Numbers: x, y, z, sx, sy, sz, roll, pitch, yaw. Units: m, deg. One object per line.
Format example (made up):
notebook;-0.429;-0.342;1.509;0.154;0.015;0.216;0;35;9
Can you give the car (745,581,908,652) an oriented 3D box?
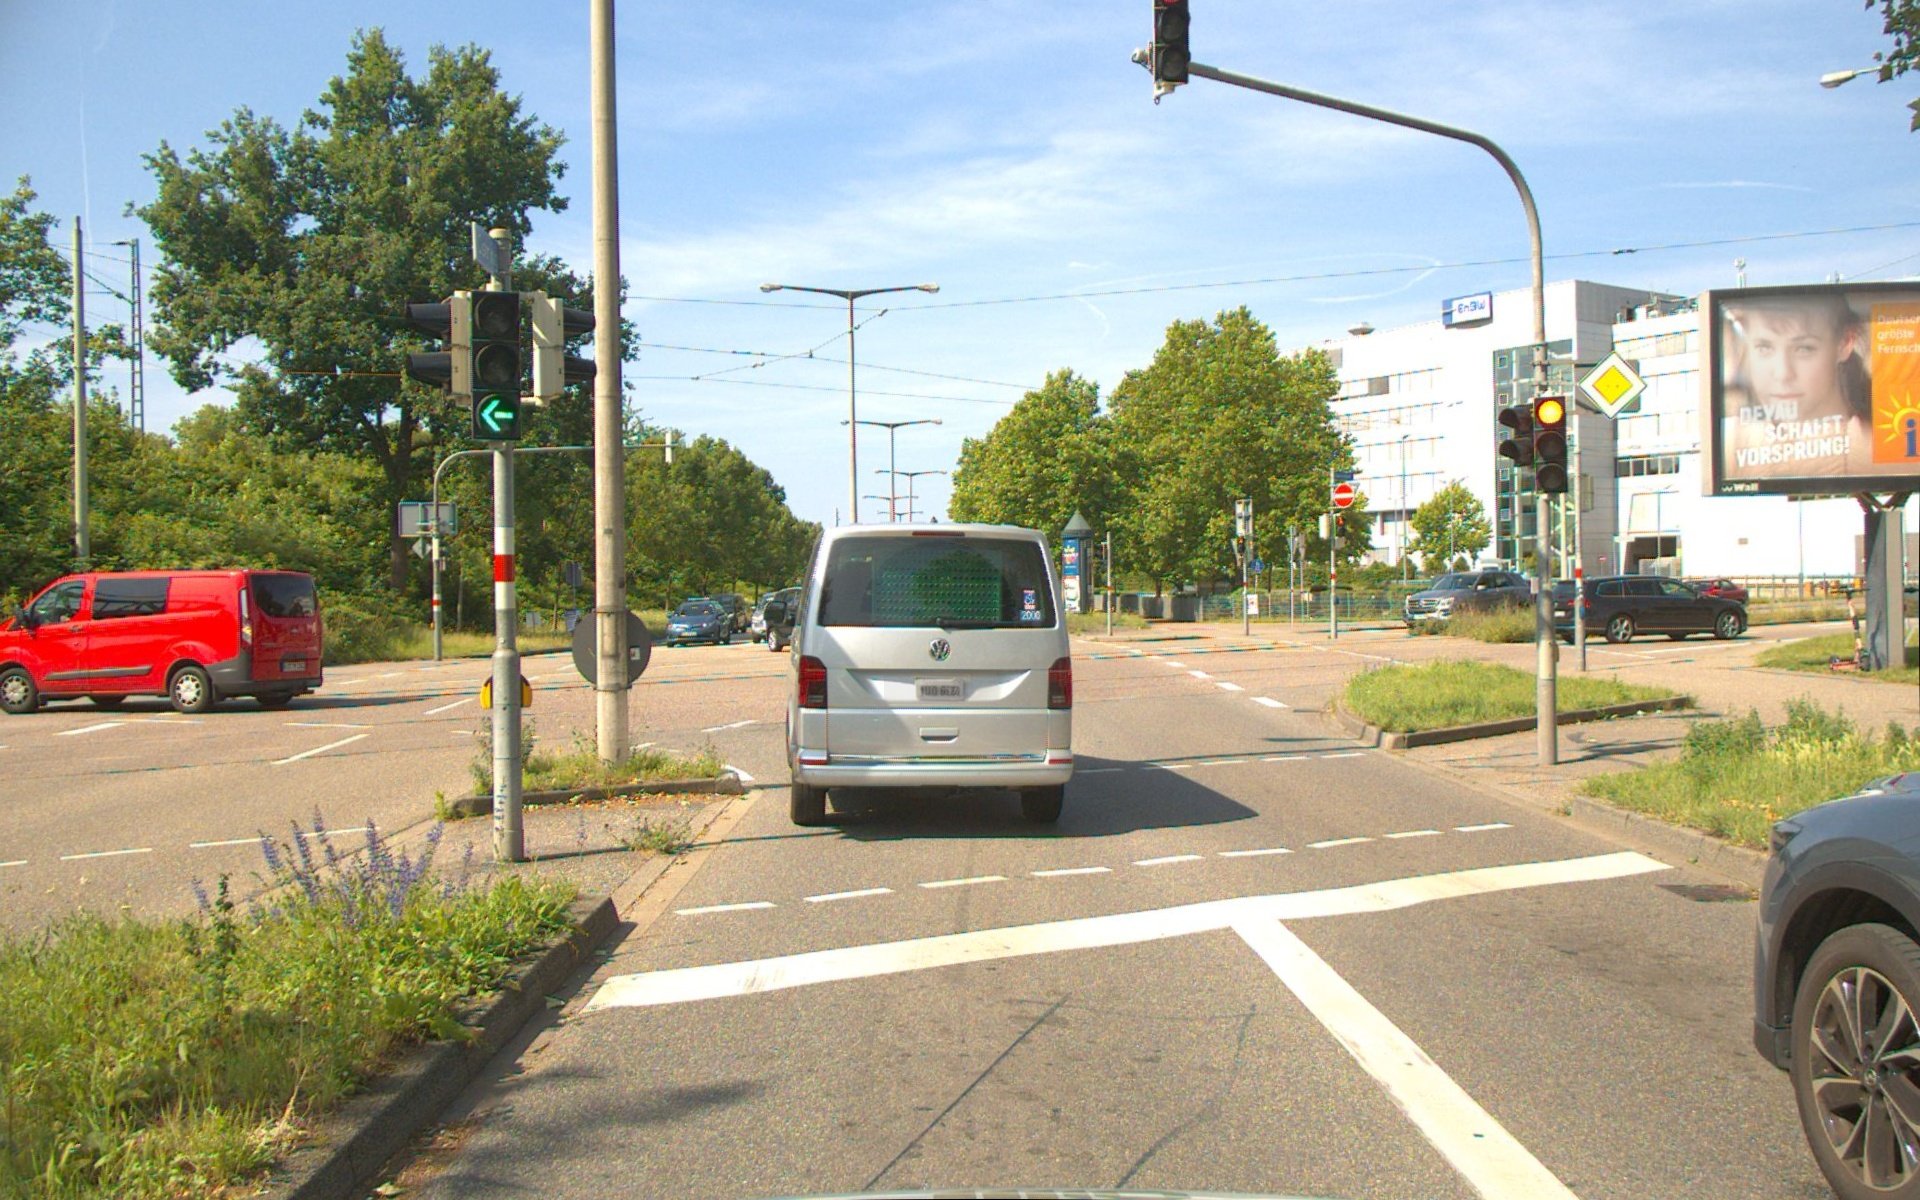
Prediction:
car;-3.359;0.411;40.960;1.799;1.633;4.311;-2;0;-42

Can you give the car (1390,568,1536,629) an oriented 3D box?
car;15.116;-0.066;49.591;4.578;1.718;1.890;-2;0;-38

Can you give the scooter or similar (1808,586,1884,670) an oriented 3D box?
scooter or similar;12.395;0.378;23.167;0.416;1.146;1.123;-1;0;-2

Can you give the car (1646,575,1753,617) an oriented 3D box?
car;28.198;-0.155;63.016;4.578;1.469;1.758;-2;0;-38

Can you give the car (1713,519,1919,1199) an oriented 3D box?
car;3.184;0.662;2.728;1.730;1.688;4.495;1;0;-2

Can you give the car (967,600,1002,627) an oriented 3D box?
car;1.189;0.646;80.724;1.609;1.258;3.253;-1;0;1

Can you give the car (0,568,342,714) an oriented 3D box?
car;-11.462;0.584;23.824;4.449;1.958;1.976;-1;0;15

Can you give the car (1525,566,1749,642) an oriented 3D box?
car;14.893;0.075;36.460;4.304;1.537;1.845;-1;0;-13

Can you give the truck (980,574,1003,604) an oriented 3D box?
truck;4.781;-1.627;248.705;3.125;4.431;13.151;-1;0;2

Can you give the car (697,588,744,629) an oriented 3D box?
car;-11.368;0.406;78.688;1.813;1.846;3.998;-1;0;-3

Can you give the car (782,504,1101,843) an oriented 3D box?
car;-0.365;0.430;12.418;1.904;2.006;5.015;-1;0;-6

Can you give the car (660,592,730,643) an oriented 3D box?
car;-8.795;0.545;55.149;1.813;1.588;3.998;-1;0;-3
